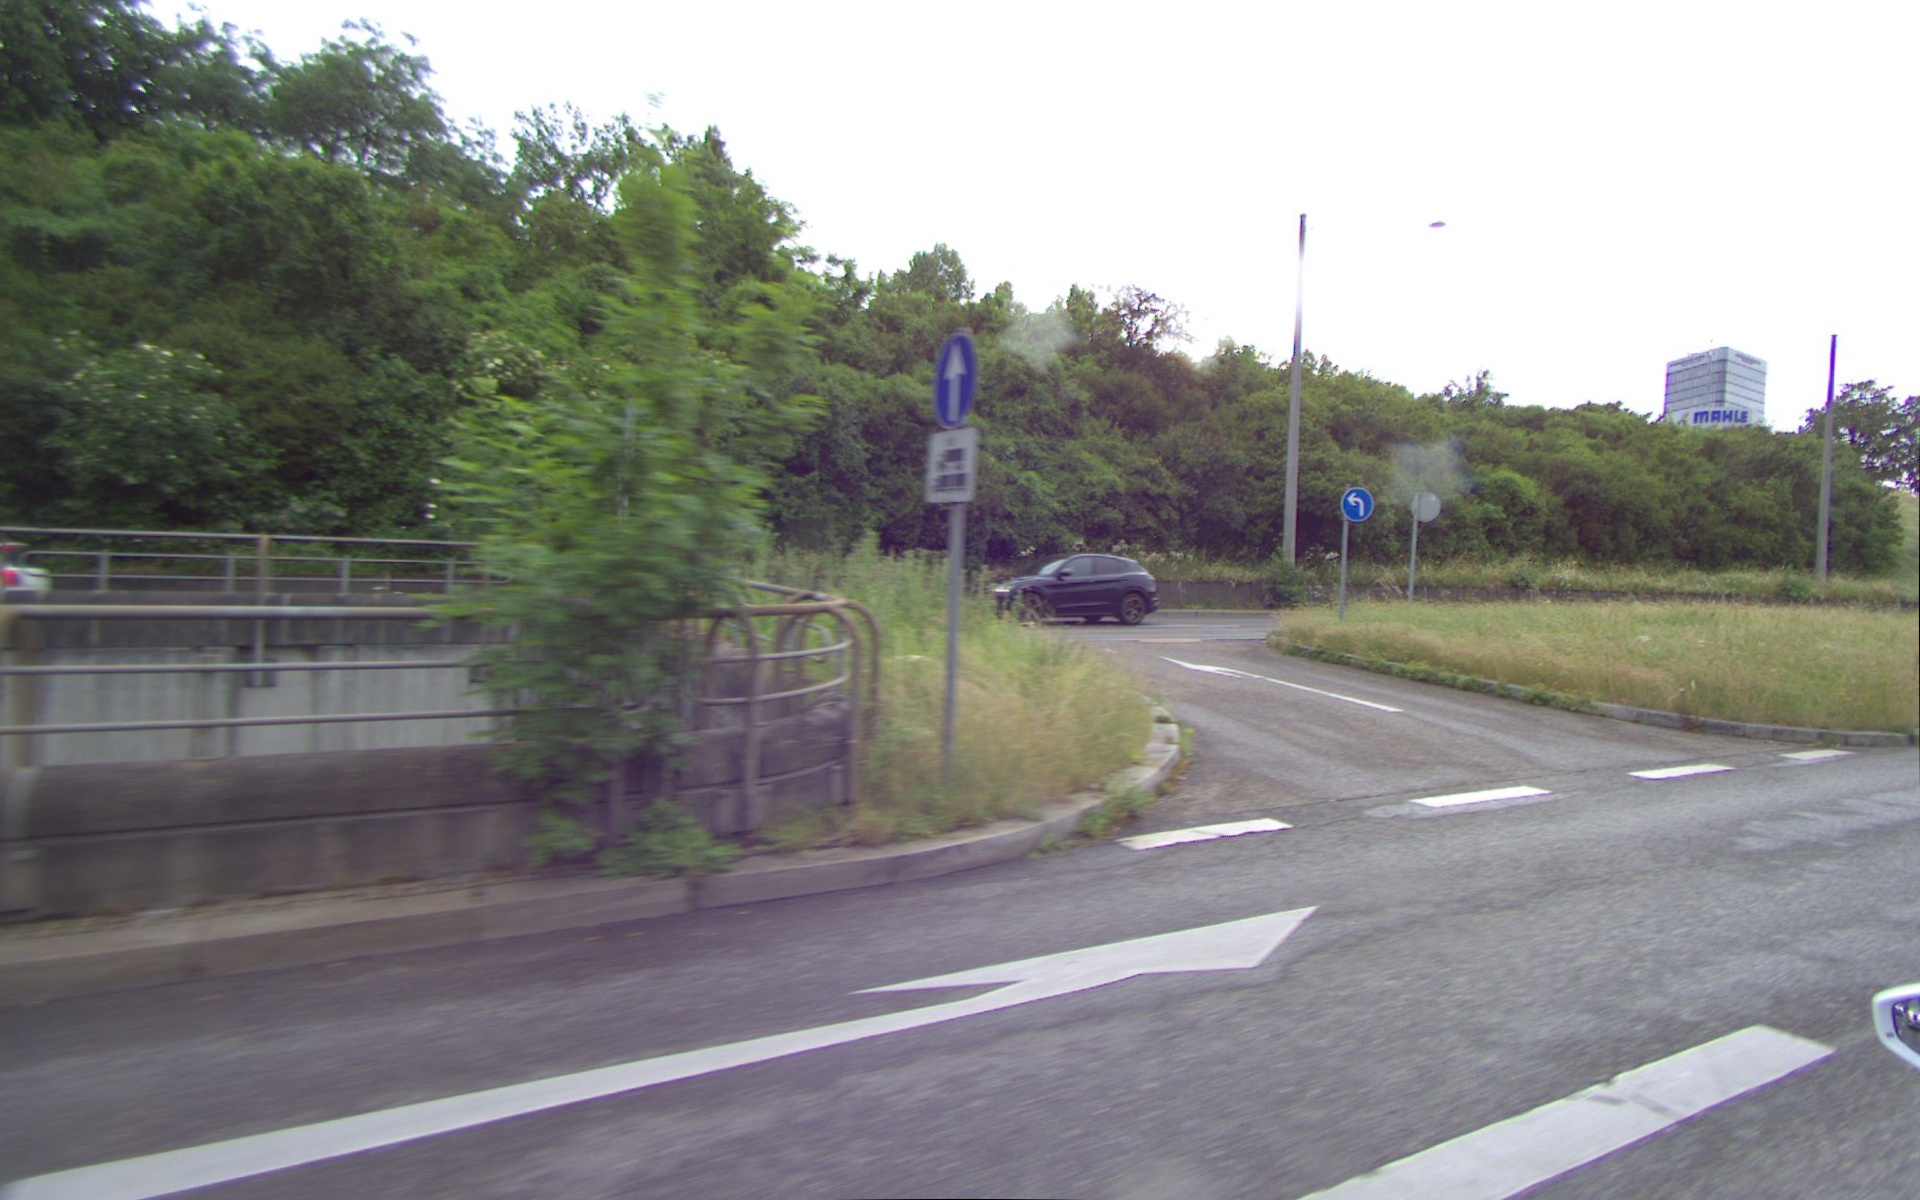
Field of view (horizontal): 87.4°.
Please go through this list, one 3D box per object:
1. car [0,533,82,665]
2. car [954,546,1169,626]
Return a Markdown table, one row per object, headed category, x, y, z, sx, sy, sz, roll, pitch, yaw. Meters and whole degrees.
| category | x | y | z | sx | sy | sz | roll | pitch | yaw |
| --- | --- | --- | --- | --- | --- | --- | --- | --- | --- |
| car | -15.588 | -0.069 | 14.076 | 4.572 | 1.859 | 1.985 | 1 | 1 | -28 |
| car | 2.396 | -0.320 | 23.604 | 4.663 | 1.659 | 1.985 | 2 | 3 | -28 |
